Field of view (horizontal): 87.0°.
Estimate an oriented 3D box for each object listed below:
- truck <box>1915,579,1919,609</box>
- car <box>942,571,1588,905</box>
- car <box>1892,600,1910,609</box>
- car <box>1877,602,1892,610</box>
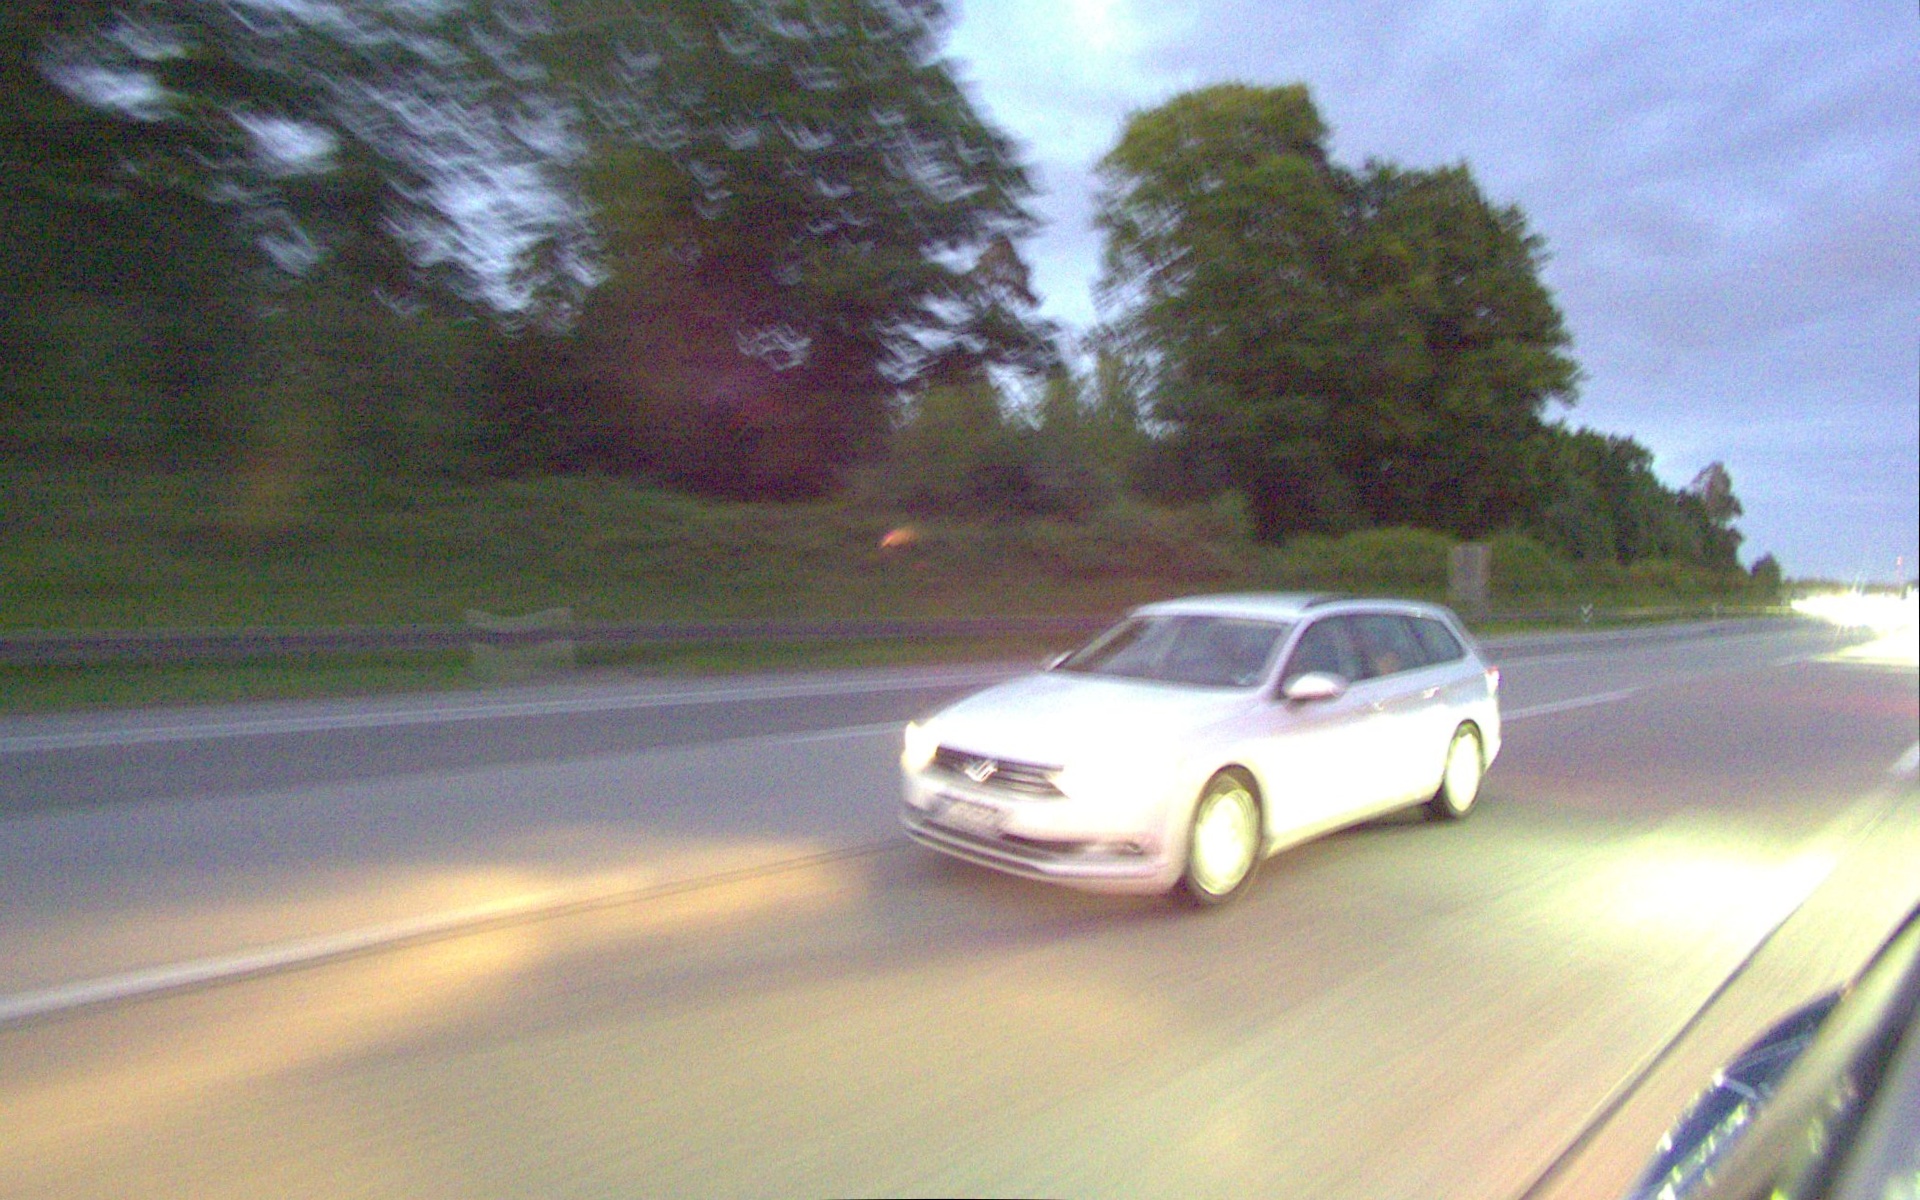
[{"bbox_3d":[134.166,-0.756,139.511,10.368,4.061,3.140,1,0,-44],"label":"truck"},{"bbox_3d":[2.384,0.633,6.864,5.042,1.484,1.812,1,0,-42],"label":"car"},{"bbox_3d":[148.183,0.707,159.328,3.975,1.398,1.817,0,0,-43],"label":"car"},{"bbox_3d":[172.998,1.105,189.463,1.993,1.568,3.939,1,1,42],"label":"car"}]
